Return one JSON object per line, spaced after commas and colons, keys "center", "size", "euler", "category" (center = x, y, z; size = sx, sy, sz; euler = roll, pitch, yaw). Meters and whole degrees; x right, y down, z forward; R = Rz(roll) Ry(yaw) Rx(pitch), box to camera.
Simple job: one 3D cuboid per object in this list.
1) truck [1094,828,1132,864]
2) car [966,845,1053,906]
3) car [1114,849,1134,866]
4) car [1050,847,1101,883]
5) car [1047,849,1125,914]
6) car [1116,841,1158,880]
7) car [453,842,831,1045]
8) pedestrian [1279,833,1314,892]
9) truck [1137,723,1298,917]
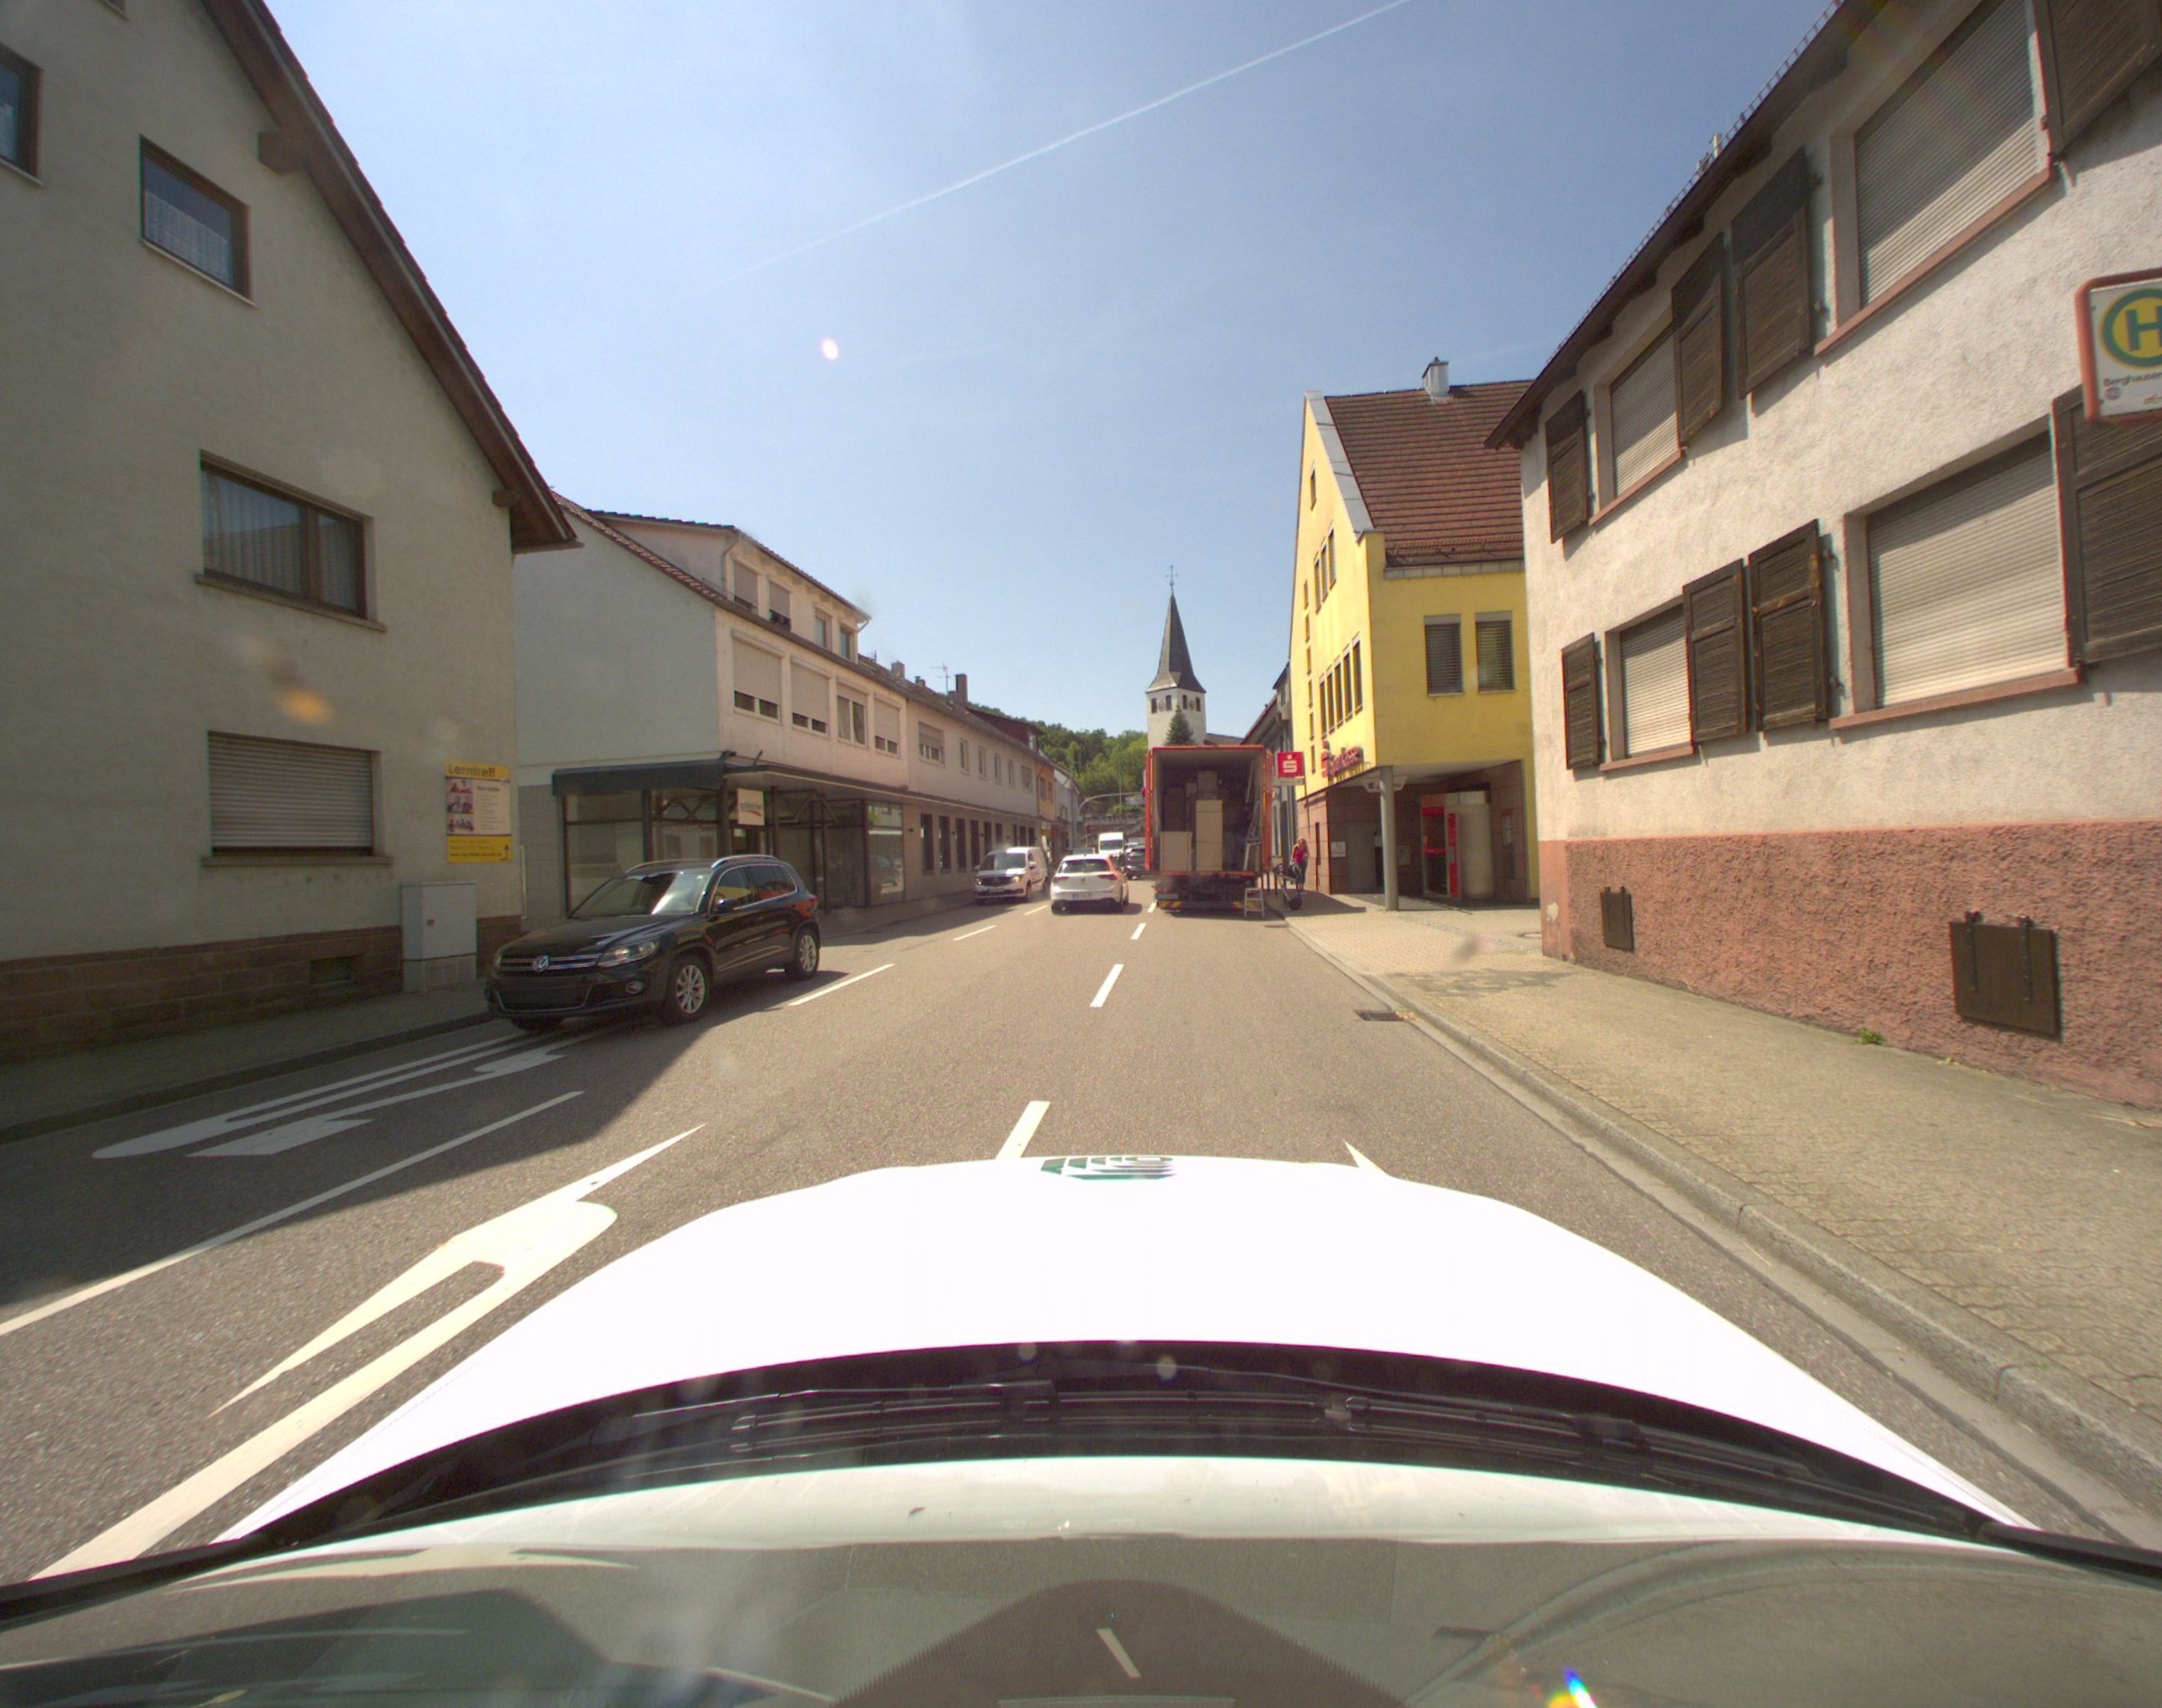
{"center": [2.457, -0.521, 61.329], "size": [2.106, 2.474, 5.749], "euler": [-3, -1, 8], "category": "truck"}
{"center": [-2.316, 0.651, 27.626], "size": [1.791, 1.780, 4.716], "euler": [-3, 0, 8], "category": "car"}
{"center": [4.168, 0.343, 78.542], "size": [1.753, 1.498, 4.004], "euler": [-3, -1, 4], "category": "car"}
{"center": [-0.214, 0.574, 42.521], "size": [1.982, 1.651, 4.009], "euler": [-3, -1, 8], "category": "car"}
{"center": [0.210, 0.681, 21.195], "size": [1.808, 1.519, 4.002], "euler": [-1, -1, 2], "category": "car"}
{"center": [2.594, 0.317, 38.327], "size": [1.808, 1.629, 4.002], "euler": [-3, -1, 2], "category": "car"}
{"center": [-4.515, 0.770, 9.239], "size": [1.683, 1.698, 4.118], "euler": [-3, 1, 5], "category": "car"}
{"center": [6.667, 0.258, 25.191], "size": [0.766, 1.742, 0.871], "euler": [-3, -1, 1], "category": "pedestrian"}
{"center": [3.471, -0.703, 23.092], "size": [3.351, 4.170, 9.531], "euler": [-3, -1, 5], "category": "truck"}
